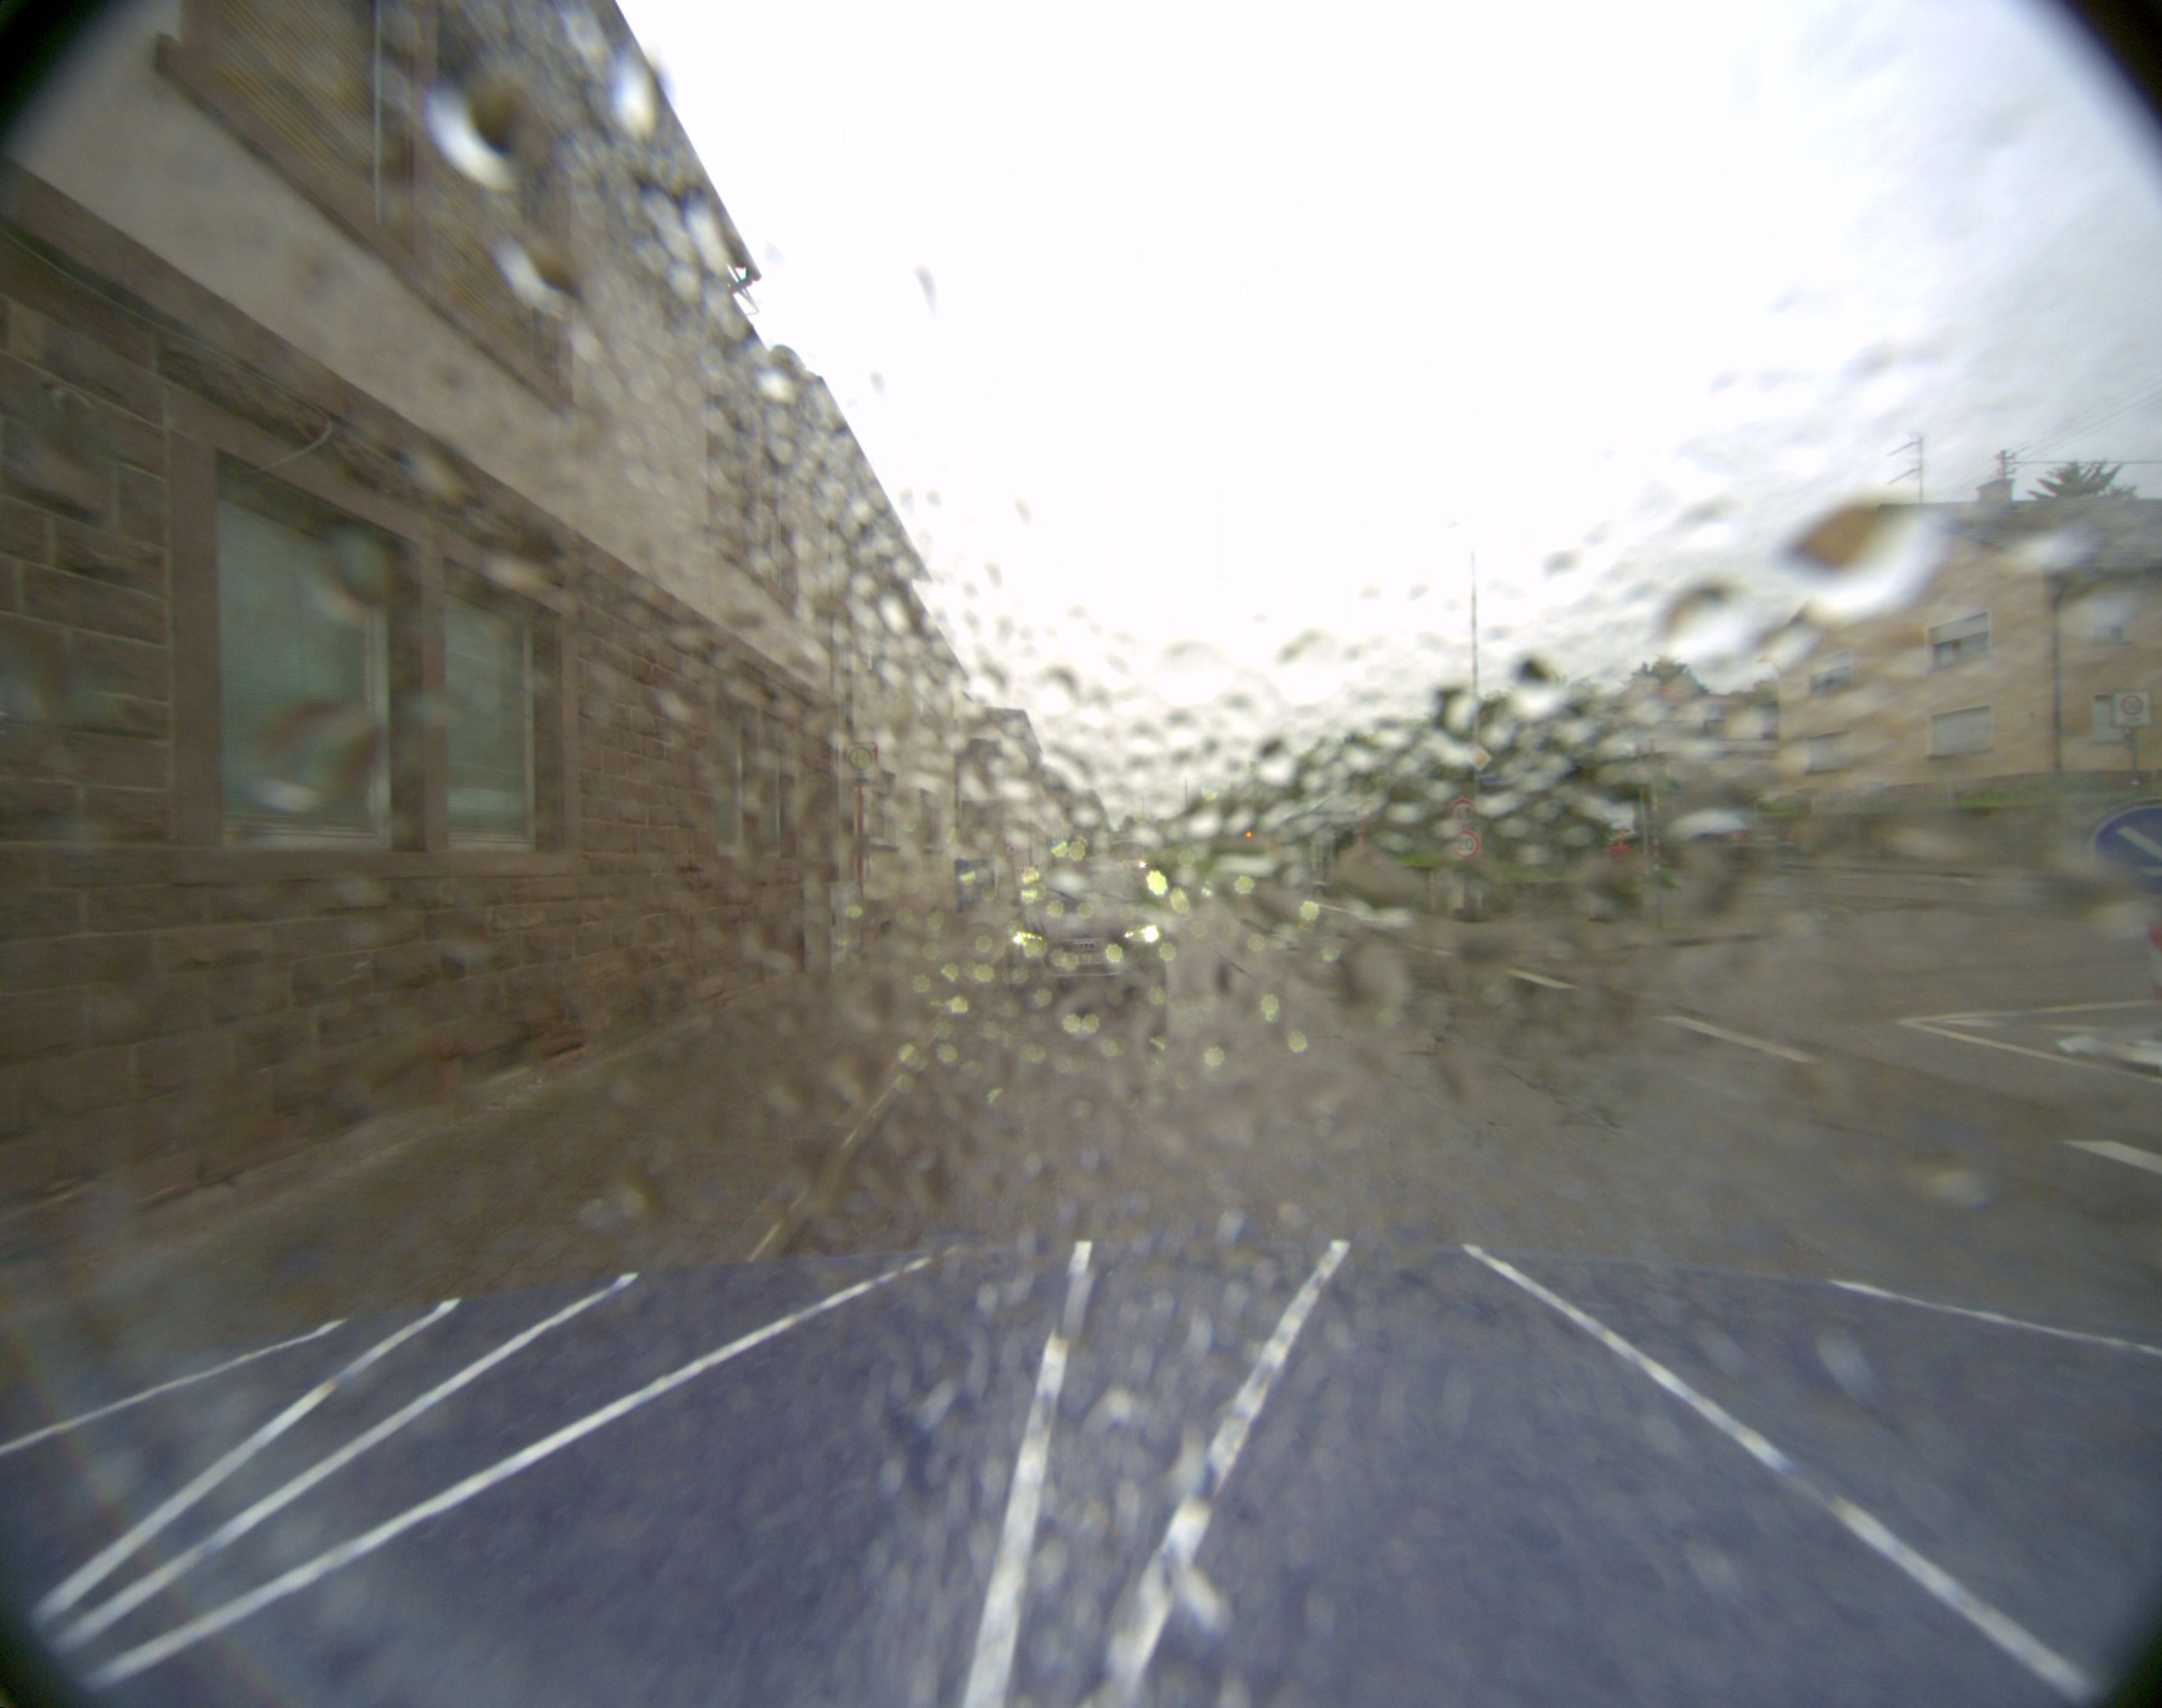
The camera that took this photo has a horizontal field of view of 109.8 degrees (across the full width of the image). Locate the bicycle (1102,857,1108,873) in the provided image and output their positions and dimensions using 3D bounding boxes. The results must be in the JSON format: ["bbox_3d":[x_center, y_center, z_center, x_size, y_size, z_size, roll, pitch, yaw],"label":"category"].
[{"bbox_3d":[1.768,0.806,56.554,0.407,1.137,1.221,0,1,3],"label":"bicycle"}]

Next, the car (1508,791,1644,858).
[{"bbox_3d":[16.435,-1.017,25.545,1.787,1.994,4.318,-2,3,1],"label":"car"}]

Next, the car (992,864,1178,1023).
[{"bbox_3d":[0.093,0.926,9.856,1.851,1.444,4.531,0,1,1],"label":"car"}]

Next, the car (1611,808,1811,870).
[{"bbox_3d":[16.140,-0.452,19.815,1.749,1.382,4.220,-2,3,1],"label":"car"}]

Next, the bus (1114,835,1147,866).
[{"bbox_3d":[5.050,-0.462,80.472,2.685,2.987,14.543,0,1,1],"label":"bus"}]
